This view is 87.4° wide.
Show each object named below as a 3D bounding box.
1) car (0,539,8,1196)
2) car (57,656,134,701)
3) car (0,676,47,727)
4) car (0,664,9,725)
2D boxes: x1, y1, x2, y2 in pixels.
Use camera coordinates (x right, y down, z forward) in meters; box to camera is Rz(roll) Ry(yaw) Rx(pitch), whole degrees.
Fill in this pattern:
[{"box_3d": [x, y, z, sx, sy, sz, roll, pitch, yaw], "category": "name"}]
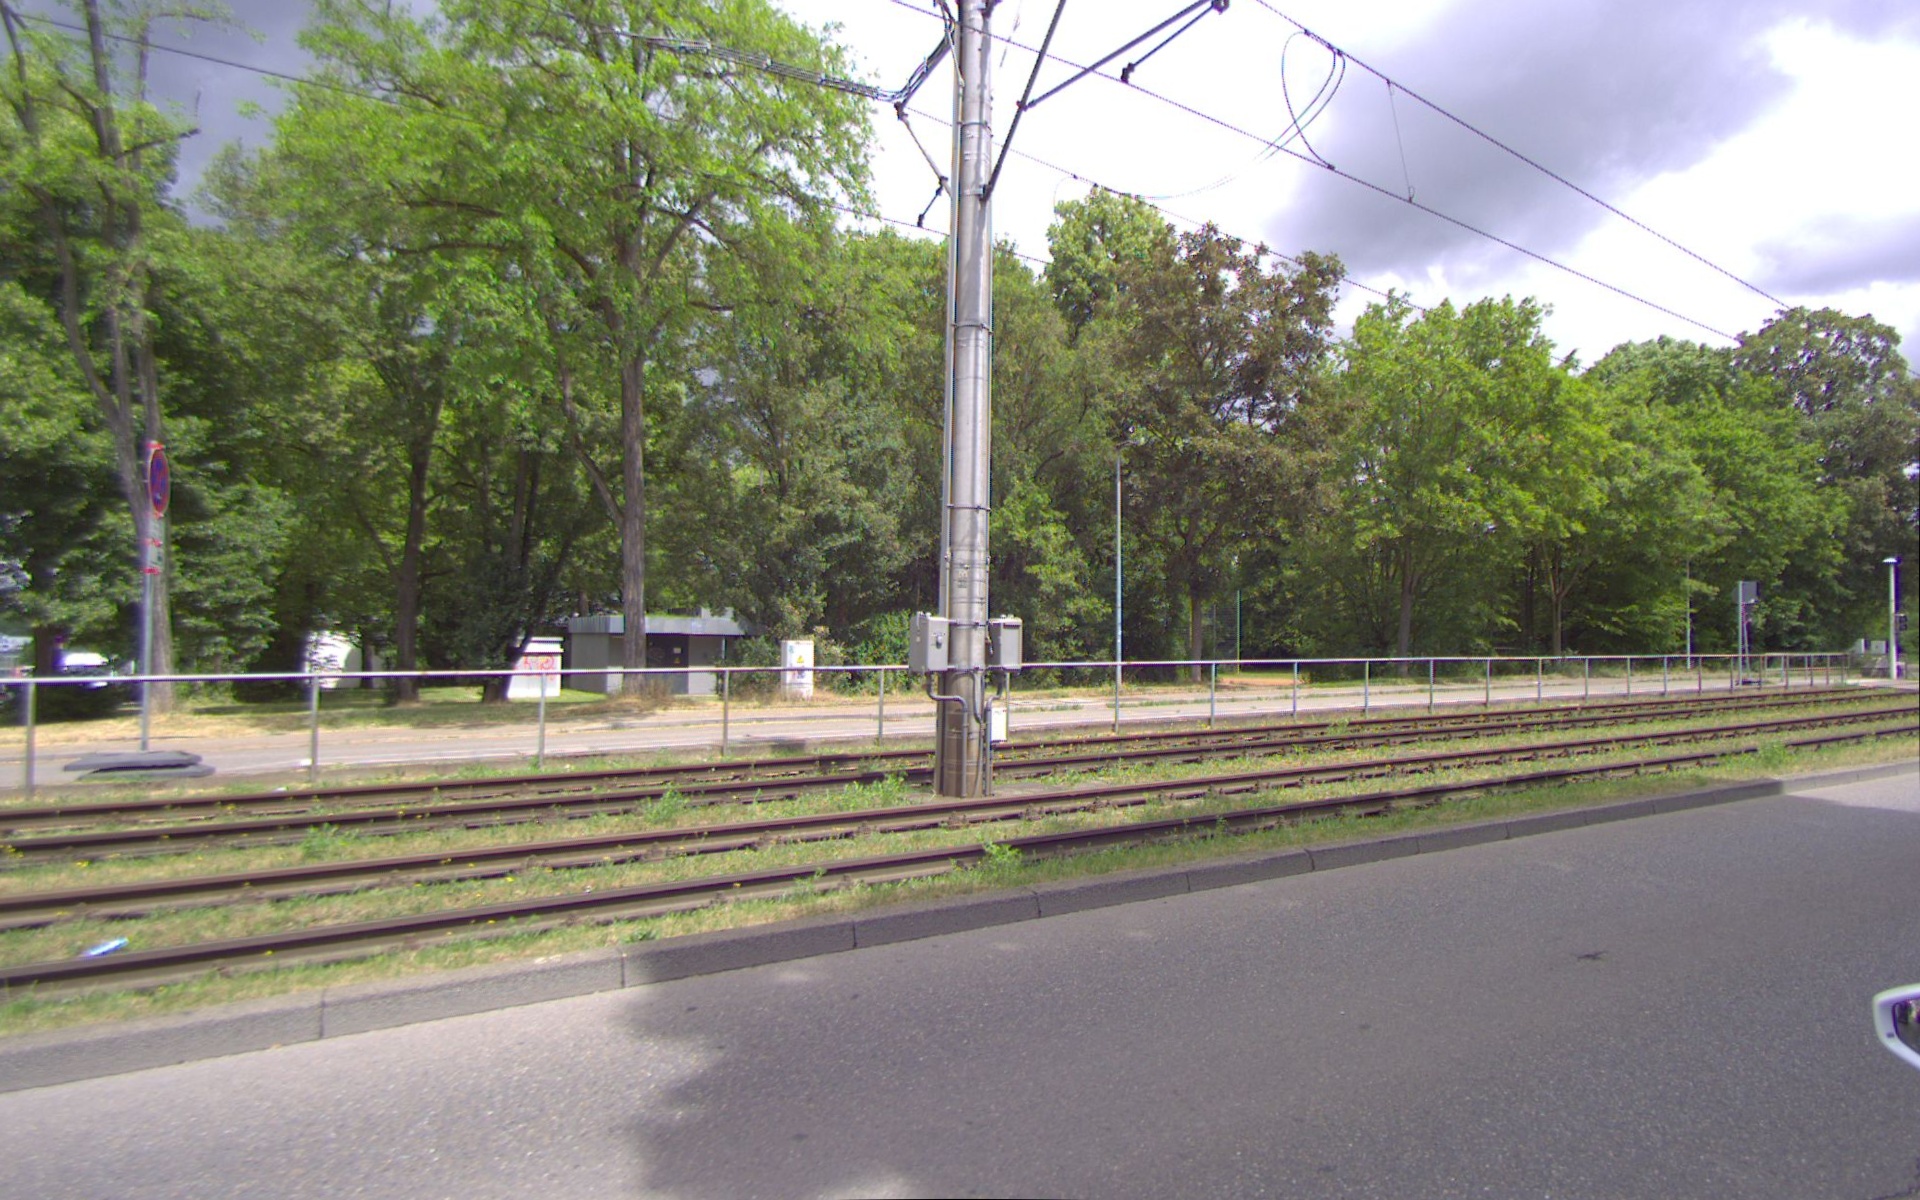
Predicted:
[{"box_3d": [-3.546, 0.621, 0.643, 3.954, 1.565, 1.707, 1, 0, -31], "category": "car"}, {"box_3d": [-42.657, 3.865, 49.665, 1.976, 2.129, 3.972, 2, -4, -28], "category": "car"}, {"box_3d": [-33.200, 3.463, 34.574, 1.833, 1.508, 3.967, 2, -3, -31], "category": "car"}, {"box_3d": [-29.663, 2.781, 29.120, 1.976, 1.882, 3.972, 2, -4, -28], "category": "car"}]
